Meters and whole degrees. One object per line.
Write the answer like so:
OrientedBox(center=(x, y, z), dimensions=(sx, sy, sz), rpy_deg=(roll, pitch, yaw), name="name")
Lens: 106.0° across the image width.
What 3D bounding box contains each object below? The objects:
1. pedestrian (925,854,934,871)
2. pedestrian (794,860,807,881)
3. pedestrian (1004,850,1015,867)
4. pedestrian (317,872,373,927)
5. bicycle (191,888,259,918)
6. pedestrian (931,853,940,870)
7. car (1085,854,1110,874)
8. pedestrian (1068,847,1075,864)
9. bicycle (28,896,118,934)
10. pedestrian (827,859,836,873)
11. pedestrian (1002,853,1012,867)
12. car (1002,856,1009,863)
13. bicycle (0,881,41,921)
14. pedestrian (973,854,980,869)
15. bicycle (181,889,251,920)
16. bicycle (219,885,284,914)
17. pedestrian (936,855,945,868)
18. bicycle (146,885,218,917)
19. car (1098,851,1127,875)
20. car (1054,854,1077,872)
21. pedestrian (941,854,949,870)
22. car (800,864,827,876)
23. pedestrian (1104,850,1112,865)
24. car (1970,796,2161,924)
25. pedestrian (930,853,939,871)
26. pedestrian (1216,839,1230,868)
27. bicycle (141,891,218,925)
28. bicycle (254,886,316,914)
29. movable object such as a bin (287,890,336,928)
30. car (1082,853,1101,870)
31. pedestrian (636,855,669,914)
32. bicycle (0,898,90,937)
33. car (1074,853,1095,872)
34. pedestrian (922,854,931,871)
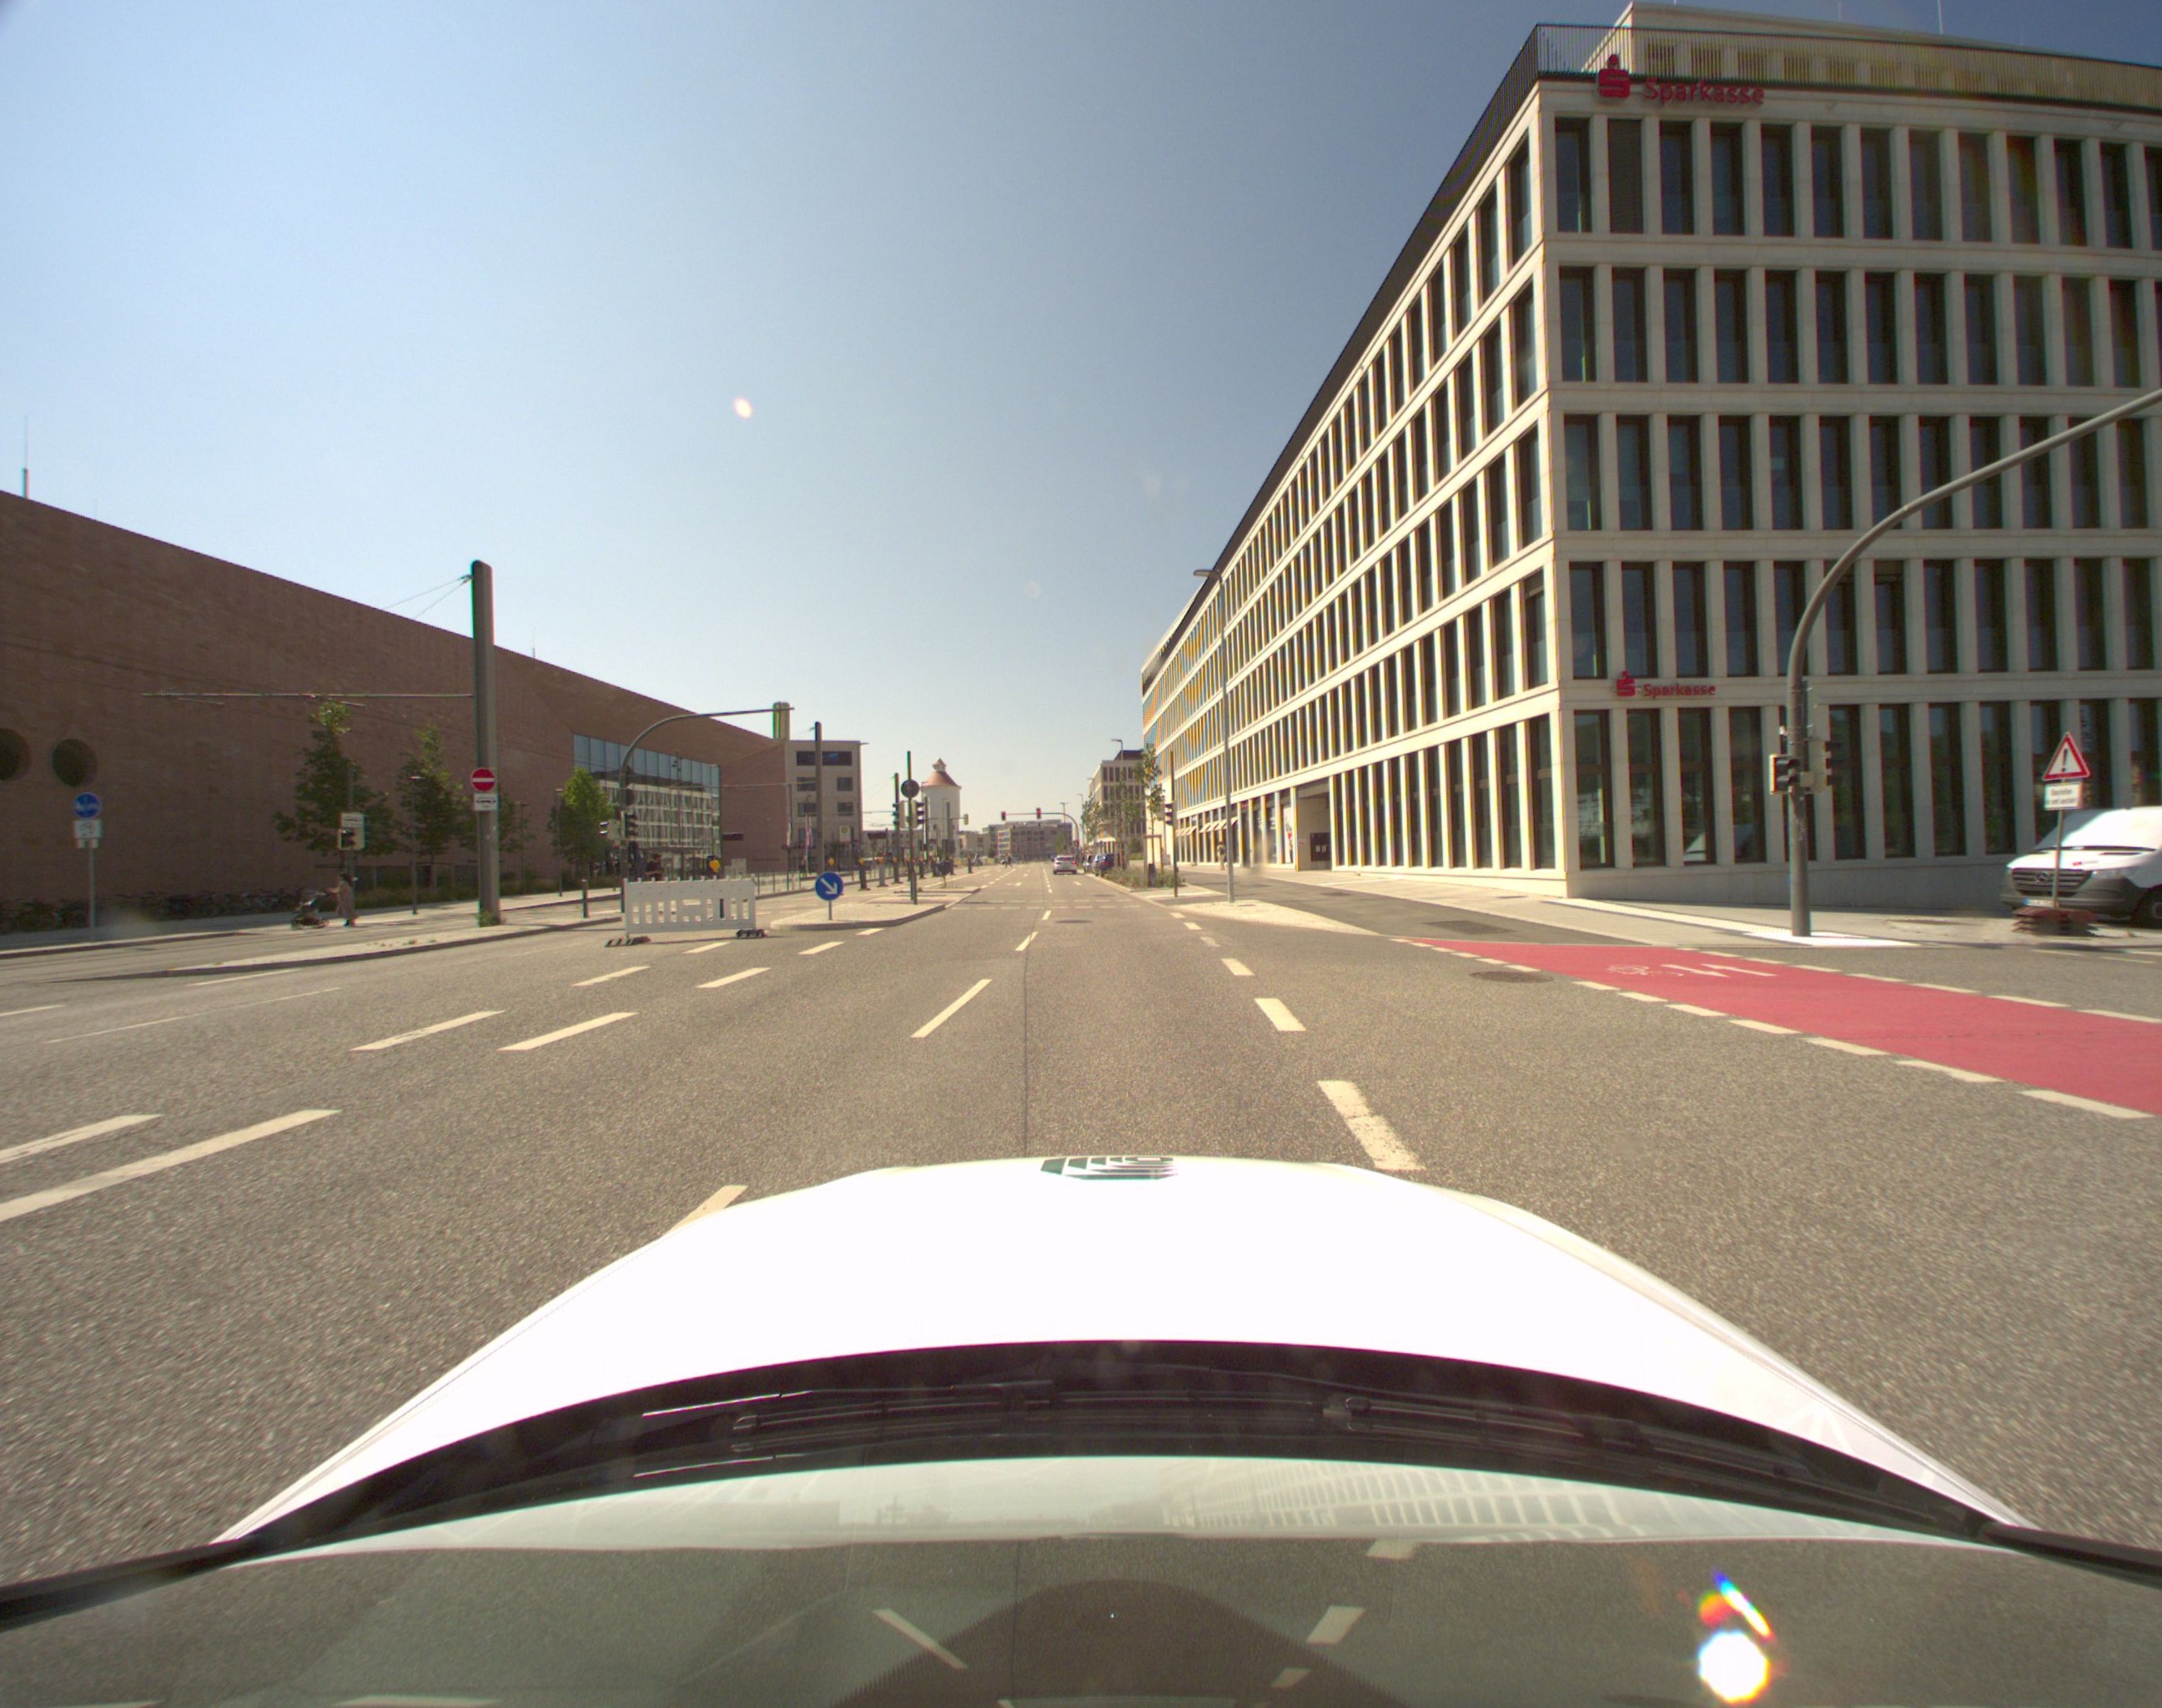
OrientedBox(center=(-17.031, 0.940, 91.574), dimensions=(0.887, 1.890, 0.690), rpy_deg=(-2, 0, -8), name="pedestrian")
OrientedBox(center=(-23.998, 1.412, 69.671), dimensions=(0.809, 1.820, 0.824), rpy_deg=(0, -1, -3), name="pedestrian")
OrientedBox(center=(-8.758, 0.540, 99.565), dimensions=(1.024, 2.013, 0.947), rpy_deg=(-2, 0, -21), name="pedestrian")
OrientedBox(center=(-21.652, 1.318, 23.980), dimensions=(0.930, 1.562, 0.790), rpy_deg=(-1, 0, -13), name="pedestrian")
OrientedBox(center=(-37.015, 2.099, 35.240), dimensions=(2.054, 1.212, 0.537), rpy_deg=(-1, 0, -14), name="bicycle")
OrientedBox(center=(-15.981, 0.847, 89.509), dimensions=(0.887, 1.890, 0.690), rpy_deg=(-2, 0, -8), name="pedestrian")
OrientedBox(center=(1.187, 0.729, 60.578), dimensions=(1.601, 1.387, 3.810), rpy_deg=(-2, 0, -3), name="car")
OrientedBox(center=(-1.087, 0.212, 91.593), dimensions=(0.727, 1.890, 0.821), rpy_deg=(-2, 0, 3), name="pedestrian")
OrientedBox(center=(-35.487, 2.127, 28.700), dimensions=(2.054, 1.212, 0.537), rpy_deg=(-1, 0, -14), name="bicycle")
OrientedBox(center=(-29.762, 1.425, 97.119), dimensions=(0.709, 1.571, 0.889), rpy_deg=(-2, 0, -4), name="pedestrian")
OrientedBox(center=(-8.946, 0.720, 98.690), dimensions=(0.897, 1.674, 1.006), rpy_deg=(-2, 0, -21), name="pedestrian")
OrientedBox(center=(-17.236, 1.348, 185.437), dimensions=(1.583, 1.530, 3.687), rpy_deg=(-1, -1, -4), name="car")
OrientedBox(center=(-34.770, 1.512, 25.982), dimensions=(2.054, 1.212, 0.537), rpy_deg=(-1, 0, -14), name="bicycle")
OrientedBox(center=(-12.295, 0.841, 95.847), dimensions=(0.764, 1.734, 0.691), rpy_deg=(-2, 0, -2), name="pedestrian")
OrientedBox(center=(-36.550, 2.128, 34.438), dimensions=(2.054, 1.212, 0.537), rpy_deg=(-1, 0, -14), name="bicycle")
OrientedBox(center=(-37.088, 2.011, 36.439), dimensions=(2.054, 1.212, 0.537), rpy_deg=(-1, 0, -14), name="bicycle")
OrientedBox(center=(-17.326, 0.931, 100.350), dimensions=(0.884, 1.647, 0.796), rpy_deg=(-2, 0, 1), name="pedestrian")
OrientedBox(center=(-36.248, 1.880, 32.852), dimensions=(1.883, 1.212, 0.744), rpy_deg=(-1, 0, -10), name="bicycle")
OrientedBox(center=(1.997, 0.566, 52.634), dimensions=(1.731, 1.474, 3.979), rpy_deg=(-1, -1, -1), name="car")
OrientedBox(center=(-1.222, 0.734, 63.809), dimensions=(1.766, 1.395, 3.530), rpy_deg=(0, -1, -1), name="car")
OrientedBox(center=(-15.698, 0.921, 93.944), dimensions=(0.764, 1.890, 0.691), rpy_deg=(-2, 0, -2), name="pedestrian")
OrientedBox(center=(-43.242, 2.557, 131.795), dimensions=(3.948, 1.816, 1.789), rpy_deg=(-1, -1, -15), name="car")
OrientedBox(center=(3.039, 0.383, 92.497), dimensions=(0.761, 1.620, 0.694), rpy_deg=(-2, 0, 13), name="pedestrian")
OrientedBox(center=(21.144, 0.131, 15.772), dimensions=(5.823, 2.270, 2.144), rpy_deg=(1, 0, -3), name="car")
OrientedBox(center=(-16.385, 0.901, 90.831), dimensions=(0.887, 1.890, 0.690), rpy_deg=(-2, 0, -8), name="pedestrian")
OrientedBox(center=(8.564, -0.046, 49.245), dimensions=(0.626, 1.742, 0.813), rpy_deg=(-2, 0, -3), name="pedestrian")
OrientedBox(center=(-35.416, 2.103, 32.023), dimensions=(2.054, 1.212, 0.537), rpy_deg=(-1, 0, -14), name="bicycle")
OrientedBox(center=(-36.948, 2.135, 37.826), dimensions=(2.054, 1.212, 0.537), rpy_deg=(-1, 0, -14), name="bicycle")
OrientedBox(center=(-22.452, 1.594, 23.787), dimensions=(0.713, 1.032, 0.790), rpy_deg=(-1, 0, -12), name="movable object such as a bin")
OrientedBox(center=(0.928, 0.637, 72.844), dimensions=(1.426, 1.390, 3.995), rpy_deg=(-2, 0, -3), name="car")
OrientedBox(center=(-13.448, 0.938, 25.580), dimensions=(0.650, 1.833, 0.661), rpy_deg=(-1, 0, 1), name="pedestrian")
OrientedBox(center=(-34.874, 2.130, 27.361), dimensions=(2.054, 1.212, 0.537), rpy_deg=(-1, 0, -14), name="bicycle")
OrientedBox(center=(0.277, 0.723, 67.908), dimensions=(1.552, 1.472, 3.466), rpy_deg=(-2, 0, -3), name="car")
OrientedBox(center=(-17.071, 0.916, 89.744), dimensions=(0.887, 1.890, 0.690), rpy_deg=(-2, 0, -8), name="pedestrian")
